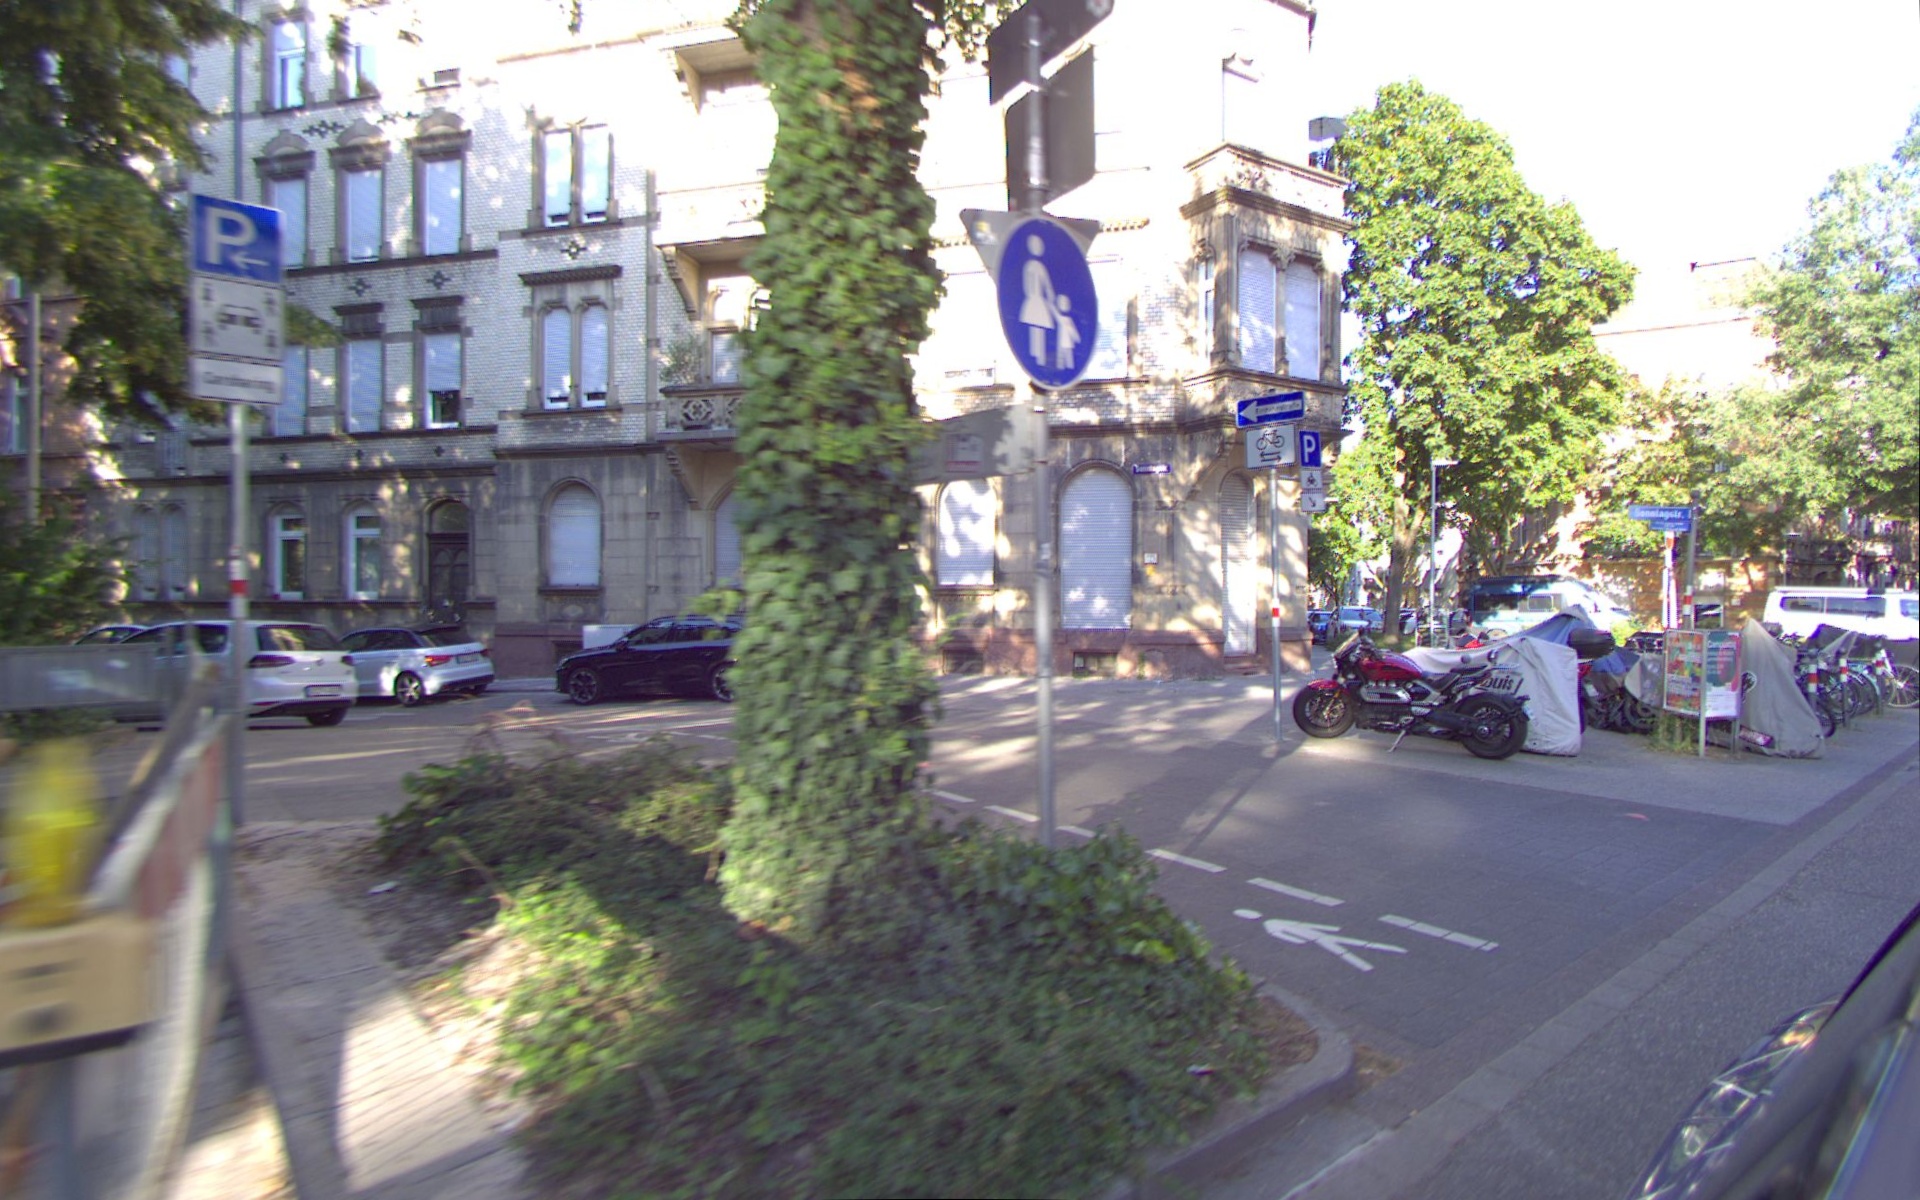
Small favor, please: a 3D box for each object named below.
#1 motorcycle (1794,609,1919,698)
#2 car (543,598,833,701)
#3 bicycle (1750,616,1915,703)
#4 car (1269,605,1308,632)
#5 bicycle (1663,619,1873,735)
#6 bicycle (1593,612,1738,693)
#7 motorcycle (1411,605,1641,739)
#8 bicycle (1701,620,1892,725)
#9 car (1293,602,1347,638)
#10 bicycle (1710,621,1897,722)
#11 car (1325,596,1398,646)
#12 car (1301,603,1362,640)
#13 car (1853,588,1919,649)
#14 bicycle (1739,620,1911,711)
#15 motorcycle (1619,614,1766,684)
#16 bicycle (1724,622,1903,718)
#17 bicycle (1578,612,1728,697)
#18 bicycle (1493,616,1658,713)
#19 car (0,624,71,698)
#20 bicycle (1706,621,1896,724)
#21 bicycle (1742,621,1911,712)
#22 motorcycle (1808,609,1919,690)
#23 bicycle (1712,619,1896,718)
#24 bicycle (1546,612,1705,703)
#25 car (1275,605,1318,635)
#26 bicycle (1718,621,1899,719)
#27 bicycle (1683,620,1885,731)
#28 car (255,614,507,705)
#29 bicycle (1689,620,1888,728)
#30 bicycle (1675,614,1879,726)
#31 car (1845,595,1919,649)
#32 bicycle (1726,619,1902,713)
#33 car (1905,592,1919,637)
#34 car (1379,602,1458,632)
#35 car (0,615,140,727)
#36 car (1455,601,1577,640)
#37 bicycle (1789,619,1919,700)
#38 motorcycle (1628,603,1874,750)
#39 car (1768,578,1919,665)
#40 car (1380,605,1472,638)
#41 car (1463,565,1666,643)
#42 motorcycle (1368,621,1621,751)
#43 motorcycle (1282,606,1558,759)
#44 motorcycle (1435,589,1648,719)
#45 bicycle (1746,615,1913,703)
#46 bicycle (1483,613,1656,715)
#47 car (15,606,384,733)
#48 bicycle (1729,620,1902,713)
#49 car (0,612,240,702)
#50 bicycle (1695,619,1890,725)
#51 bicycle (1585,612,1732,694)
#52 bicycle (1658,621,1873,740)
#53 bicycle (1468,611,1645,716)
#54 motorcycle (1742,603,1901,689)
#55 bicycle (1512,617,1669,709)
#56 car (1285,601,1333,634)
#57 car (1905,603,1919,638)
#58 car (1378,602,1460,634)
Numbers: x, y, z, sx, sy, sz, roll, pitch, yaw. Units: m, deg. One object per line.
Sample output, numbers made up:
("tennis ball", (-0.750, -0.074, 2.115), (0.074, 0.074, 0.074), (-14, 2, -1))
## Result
("motorcycle", (14.963, 0.852, 16.448), (0.888, 1.301, 2.027), (1, 2, -41))
("car", (-4.546, 0.822, 17.205), (4.298, 1.394, 1.994), (-2, 3, 12))
("bicycle", (13.616, 0.885, 15.832), (1.924, 1.262, 0.638), (0, -1, 44))
("car", (20.157, 1.100, 62.169), (1.838, 1.602, 4.229), (0, 0, 12))
("bicycle", (9.523, 0.868, 12.000), (1.924, 1.262, 0.298), (0, -1, 45))
("bicycle", (11.719, 0.836, 16.861), (1.924, 1.262, 0.472), (0, -1, 45))
("motorcycle", (6.331, 0.743, 11.498), (0.643, 1.358, 2.293), (0, 0, -28))
("bicycle", (10.907, 0.912, 13.266), (1.906, 1.262, 0.298), (0, -1, 45))
("car", (16.985, 0.925, 47.952), (1.838, 1.602, 4.229), (0, 0, 12))
("bicycle", (11.375, 0.928, 13.705), (1.924, 1.262, 0.298), (0, -1, 45))
("car", (13.906, 0.685, 35.235), (1.755, 1.631, 4.200), (0, 0, 14))
("car", (15.801, 0.870, 43.262), (1.838, 1.493, 4.229), (0, 0, 12))
("car", (33.432, 0.630, 34.253), (1.966, 2.039, 4.621), (1, 0, -42))
("bicycle", (12.811, 0.934, 15.054), (1.924, 1.262, 0.298), (0, -1, 45))
("motorcycle", (13.362, 0.864, 18.512), (0.888, 1.122, 2.026), (1, 1, -41))
("bicycle", (12.100, 0.954, 14.412), (1.924, 1.262, 0.298), (0, -1, 45))
("bicycle", (10.996, 0.827, 16.117), (1.924, 1.262, 0.472), (0, -1, 45))
("bicycle", (8.605, 0.869, 14.207), (1.924, 1.262, 0.472), (0, -1, 45))
("car", (-21.494, 1.357, 21.671), (3.943, 1.394, 1.765), (-2, 3, 16))
("bicycle", (11.141, 0.925, 13.478), (1.924, 1.262, 0.298), (0, -1, 45))
("bicycle", (13.040, 0.970, 15.284), (1.924, 1.262, 0.298), (0, -1, 45))
("motorcycle", (16.268, 0.861, 17.812), (0.611, 1.344, 2.016), (-1, 1, -43))
("bicycle", (11.595, 0.906, 13.961), (1.924, 1.262, 0.298), (0, -1, 45))
("bicycle", (9.866, 0.813, 15.074), (1.924, 1.262, 0.472), (0, -1, 45))
("car", (18.970, 1.100, 57.242), (1.838, 1.602, 4.229), (0, 0, 12))
("bicycle", (11.843, 0.946, 14.188), (1.924, 1.262, 0.298), (0, -1, 45))
("bicycle", (10.168, 0.898, 12.559), (1.924, 1.262, 0.298), (0, -1, 45))
("car", (-10.720, 1.095, 18.801), (3.943, 1.394, 1.765), (-2, 3, 16))
("bicycle", (10.411, 0.894, 12.791), (1.924, 1.262, 0.298), (0, -1, 45))
("bicycle", (9.991, 0.818, 12.450), (1.924, 1.262, 0.298), (0, -1, 45))
("car", (31.441, 0.713, 32.790), (1.769, 1.714, 3.993), (1, 0, -41))
("bicycle", (12.315, 0.914, 14.652), (1.924, 1.262, 0.298), (0, -1, 45))
("car", (46.303, 0.697, 45.671), (2.121, 1.963, 5.102), (-4, 3, -40))
("car", (27.303, 1.027, 60.319), (3.978, 1.742, 1.757), (-1, -1, 38))
("car", (-14.487, 1.097, 14.797), (3.940, 1.483, 1.872), (-3, -4, 14))
("car", (22.904, 0.807, 41.771), (1.832, 1.529, 4.058), (1, -1, -44))
("bicycle", (14.394, 0.922, 16.074), (0.436, 1.141, 1.821), (1, 2, -41))
("motorcycle", (8.469, 0.752, 10.969), (0.921, 1.430, 1.942), (0, 0, -12))
("car", (23.955, 0.530, 25.776), (2.068, 2.122, 4.983), (1, 0, -40))
("car", (23.697, 1.081, 51.512), (3.973, 1.585, 1.759), (-1, -1, 35))
("car", (21.562, 0.116, 36.300), (5.895, 2.569, 2.342), (0, 0, 44))
("motorcycle", (5.685, 0.852, 10.955), (0.951, 1.195, 2.293), (0, 0, -27))
("motorcycle", (4.563, 0.742, 10.160), (2.361, 1.358, 0.927), (0, 0, 41))
("motorcycle", (7.488, 0.643, 13.128), (2.283, 1.551, 0.744), (0, 0, 44))
("bicycle", (13.262, 0.866, 15.492), (1.924, 1.262, 0.298), (0, -1, 45))
("bicycle", (8.088, 0.807, 13.500), (1.924, 1.262, 0.472), (0, -1, 45))
("car", (-10.071, 0.949, 13.515), (3.940, 1.432, 1.872), (-3, -4, 14))
("bicycle", (12.542, 0.946, 14.893), (1.924, 1.262, 0.298), (0, -1, 45))
("car", (-17.039, 1.146, 20.573), (3.943, 1.538, 1.765), (-2, 3, 16))
("bicycle", (10.665, 0.887, 13.033), (1.924, 1.262, 0.298), (0, -1, 45))
("bicycle", (11.349, 0.832, 16.491), (1.924, 1.262, 0.472), (0, -1, 45))
("bicycle", (9.304, 0.890, 11.767), (1.924, 1.262, 0.298), (0, -1, 45))
("bicycle", (7.713, 0.786, 13.162), (1.924, 1.262, 0.445), (0, -1, 45))
("motorcycle", (15.104, 0.766, 17.787), (0.682, 1.379, 2.027), (1, 1, -40))
("bicycle", (9.296, 0.887, 14.982), (1.924, 1.262, 0.472), (0, -1, 45))
("car", (18.001, 0.880, 52.402), (1.838, 1.602, 4.229), (0, 0, 12))
("car", (42.503, 0.916, 42.181), (1.899, 1.474, 4.379), (1, 0, -39))
("car", (26.211, 1.023, 57.866), (3.978, 1.742, 1.757), (-1, -1, 38))
